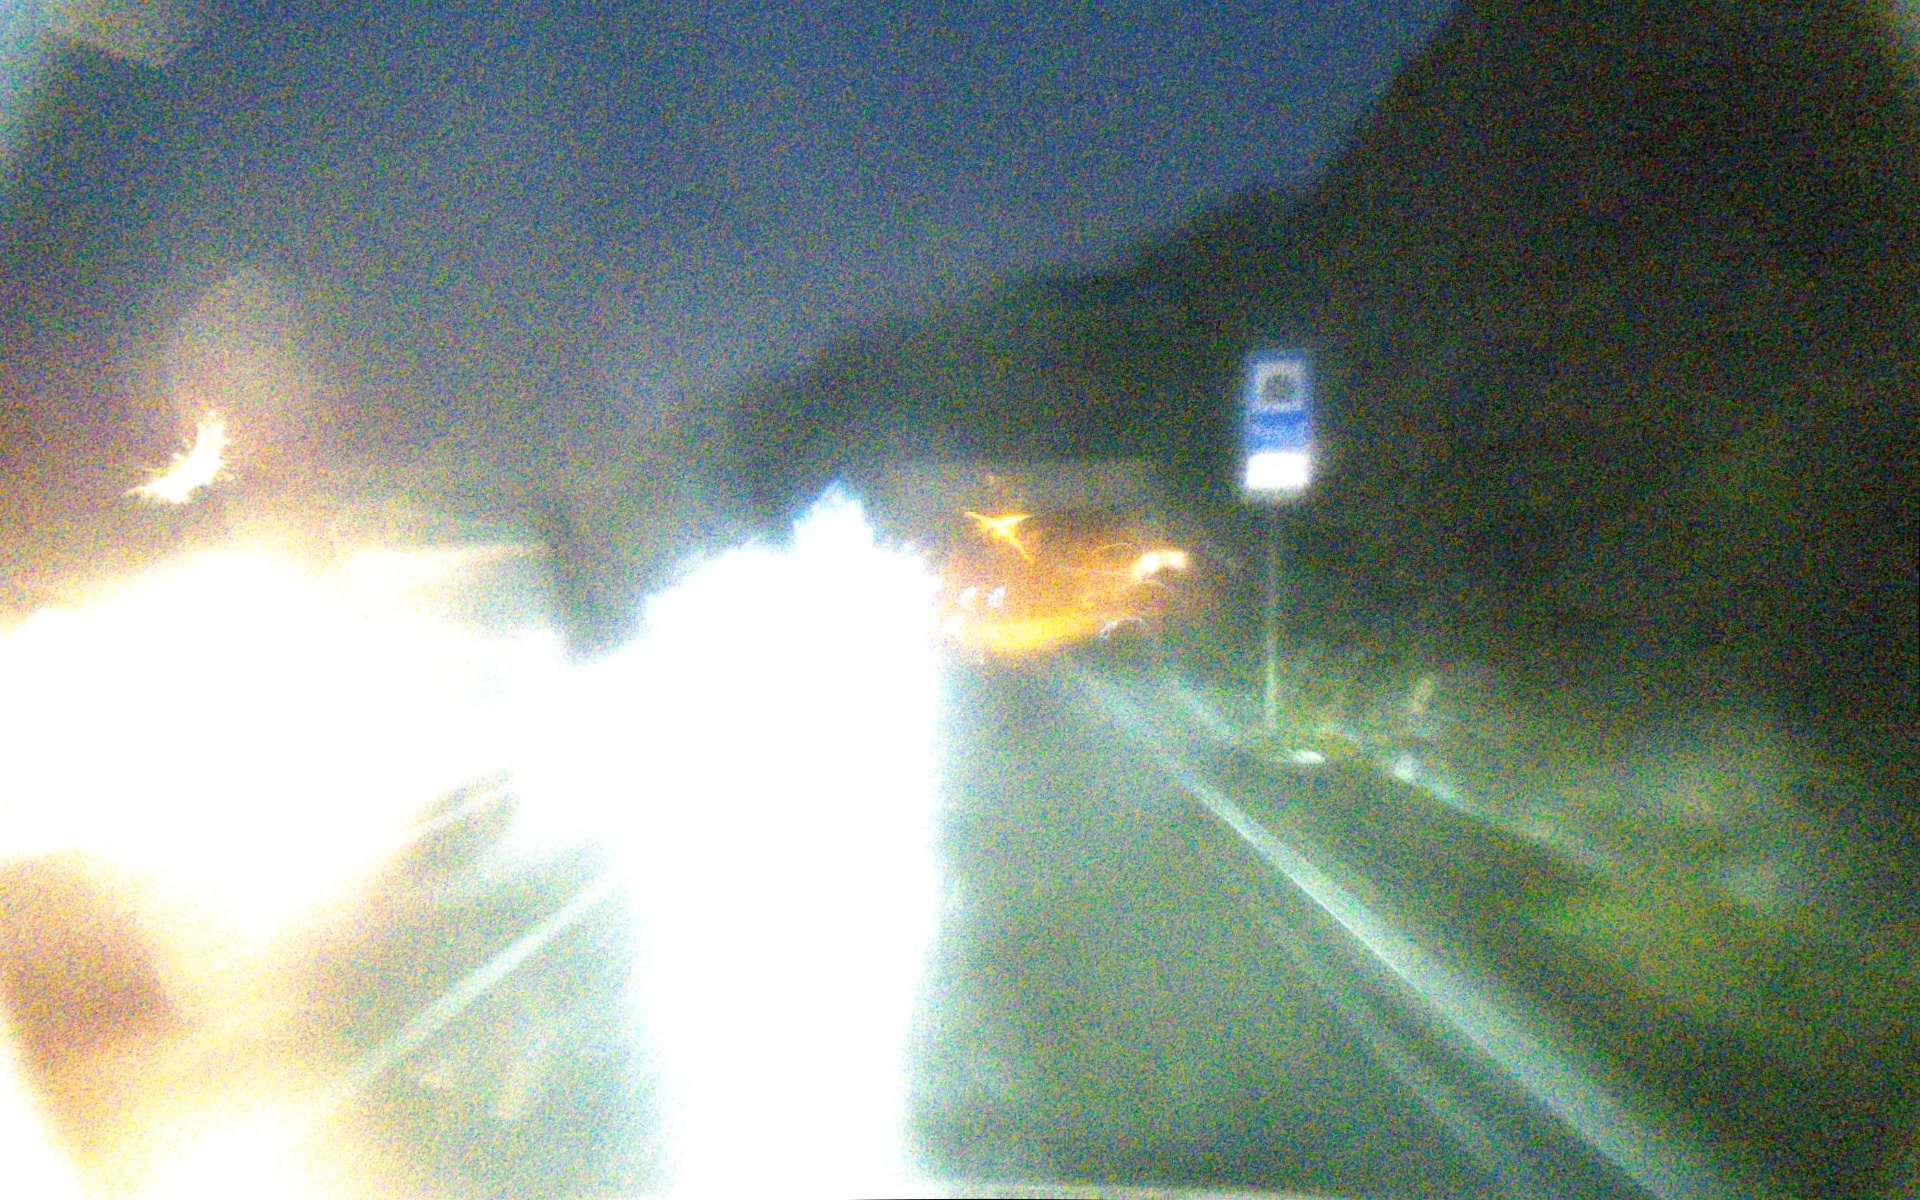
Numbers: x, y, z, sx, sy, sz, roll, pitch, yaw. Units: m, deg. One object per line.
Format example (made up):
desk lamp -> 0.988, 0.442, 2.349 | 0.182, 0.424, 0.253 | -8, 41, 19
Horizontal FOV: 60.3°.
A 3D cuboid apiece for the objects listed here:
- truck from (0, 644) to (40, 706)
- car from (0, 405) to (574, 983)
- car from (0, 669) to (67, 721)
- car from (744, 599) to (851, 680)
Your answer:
truck -> -43.387, 3.421, 74.094 | 1.739, 2.677, 5.169 | -5, 0, -7
car -> -3.460, 0.309, 8.342 | 1.853, 2.037, 4.880 | 2, 0, 0
car -> -33.533, 3.410, 58.496 | 1.737, 1.623, 3.997 | -5, 0, -3
car -> -3.019, 0.720, 31.438 | 1.558, 1.404, 4.325 | 1, 0, 0
